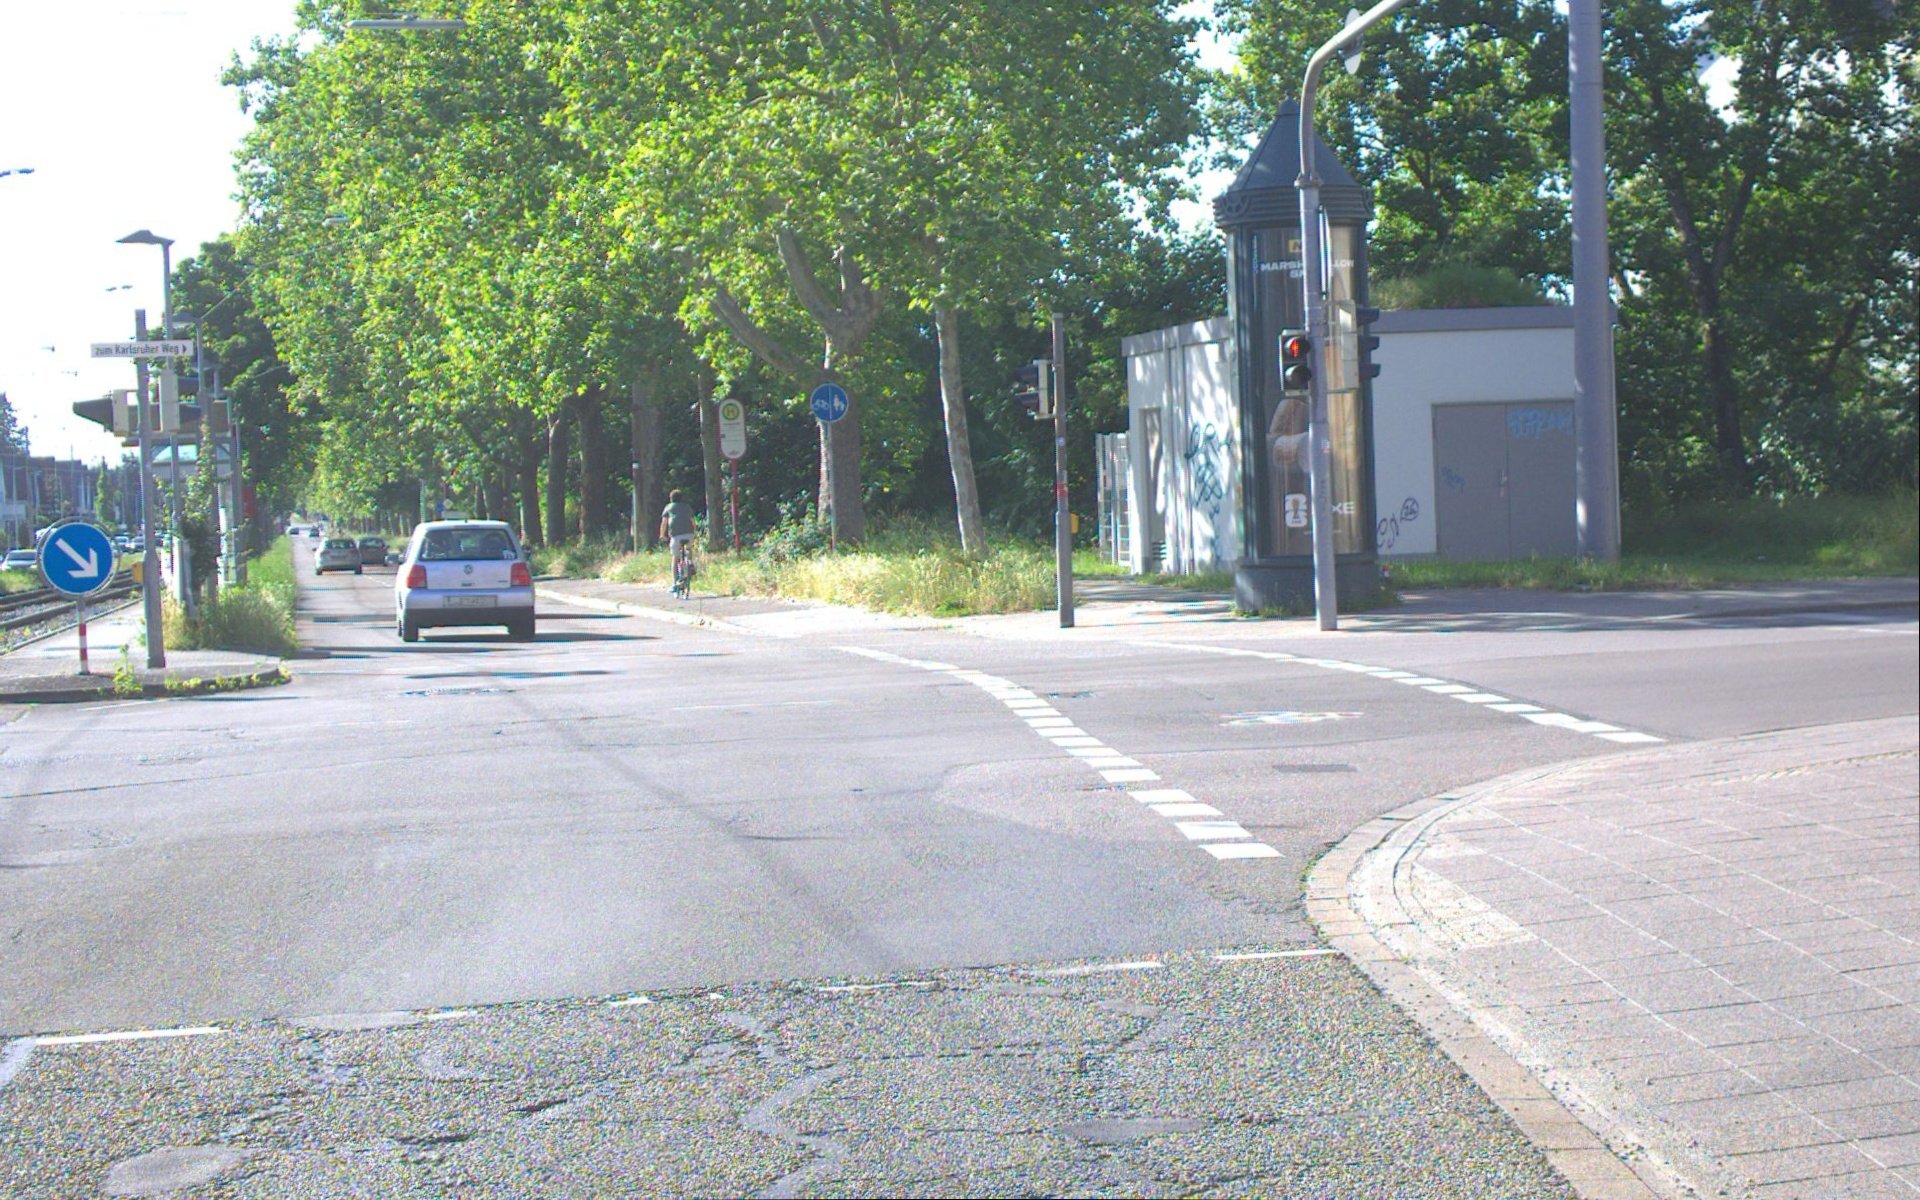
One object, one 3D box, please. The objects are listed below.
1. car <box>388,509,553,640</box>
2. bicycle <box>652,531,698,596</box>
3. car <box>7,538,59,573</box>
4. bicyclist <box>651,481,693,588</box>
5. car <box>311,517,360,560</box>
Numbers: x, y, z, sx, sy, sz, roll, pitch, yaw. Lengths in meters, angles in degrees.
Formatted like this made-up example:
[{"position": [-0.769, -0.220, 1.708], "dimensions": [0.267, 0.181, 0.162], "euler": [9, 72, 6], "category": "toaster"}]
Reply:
[{"position": [-5.987, -0.339, 42.138], "dimensions": [1.867, 1.481, 3.556], "euler": [-2, 1, -8], "category": "car"}, {"position": [-4.808, -0.620, 57.915], "dimensions": [0.536, 1.062, 1.434], "euler": [-3, 2, -13], "category": "bicycle"}, {"position": [-44.529, -2.167, 165.188], "dimensions": [1.920, 1.561, 4.001], "euler": [-3, 2, -9], "category": "car"}, {"position": [-4.856, -1.106, 58.019], "dimensions": [0.534, 1.763, 0.713], "euler": [-3, 1, -13], "category": "bicyclist"}, {"position": [-24.837, -2.458, 136.611], "dimensions": [1.750, 1.599, 3.582], "euler": [-3, 2, -12], "category": "car"}]
